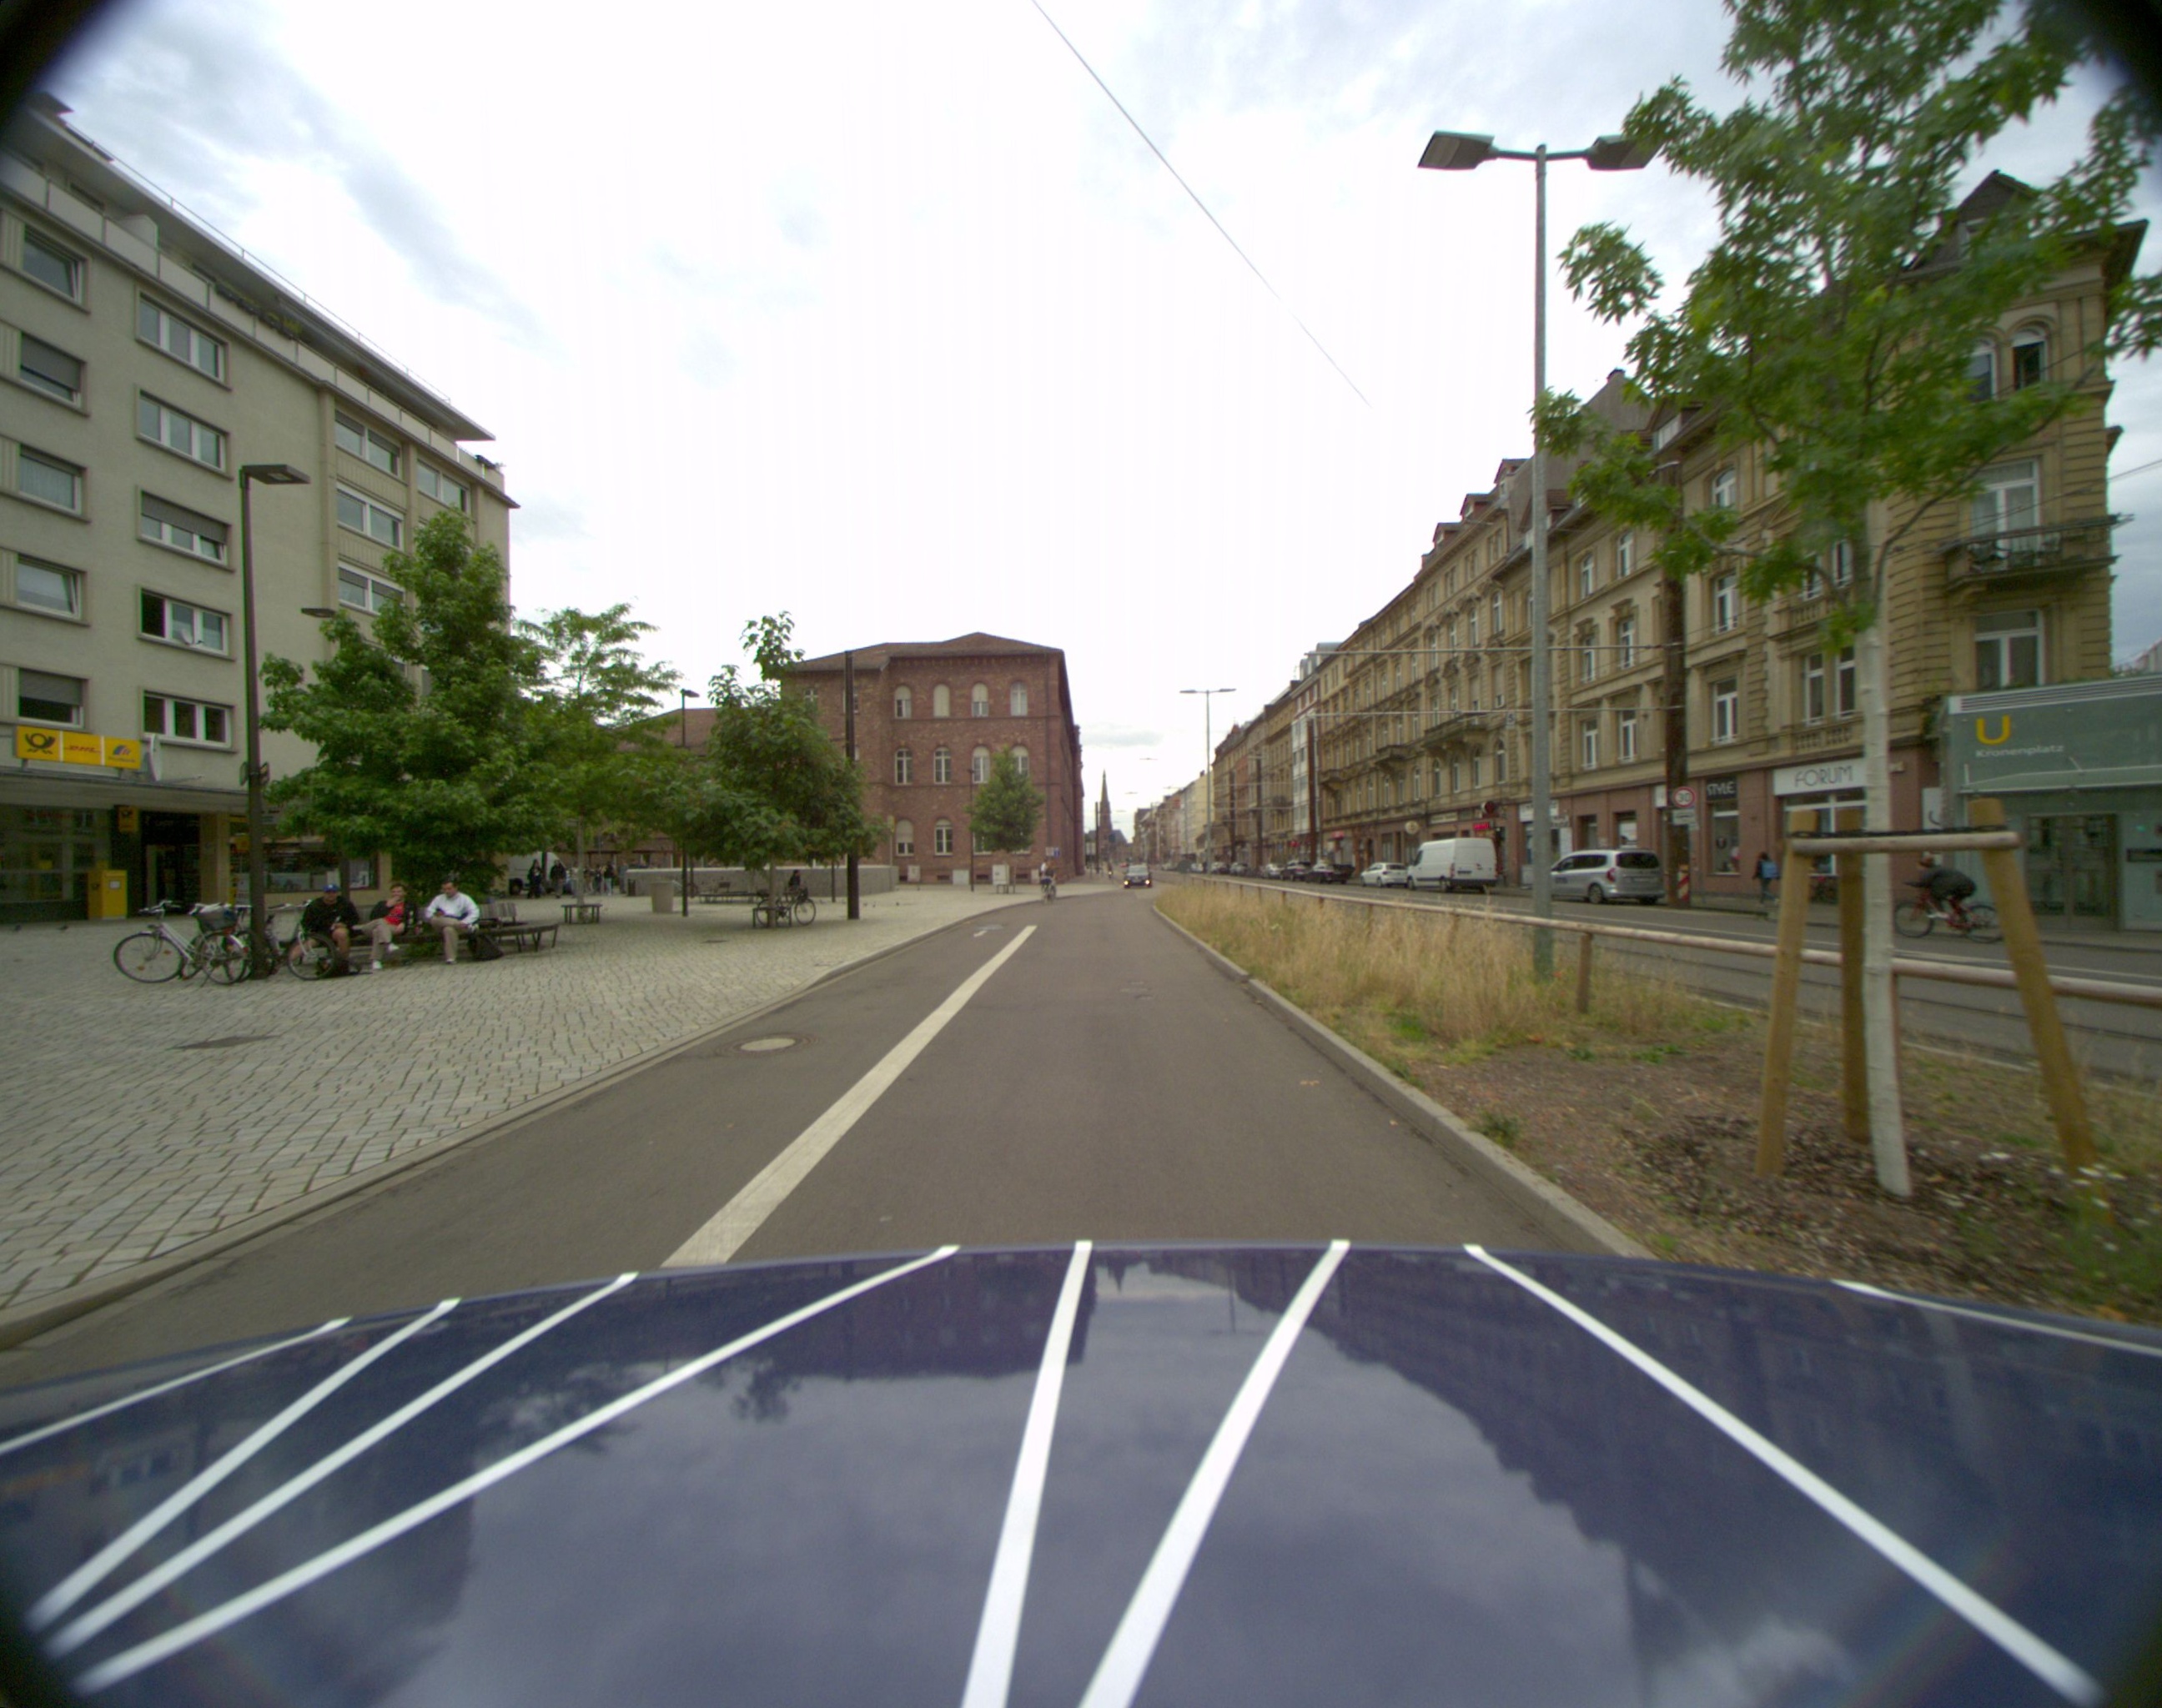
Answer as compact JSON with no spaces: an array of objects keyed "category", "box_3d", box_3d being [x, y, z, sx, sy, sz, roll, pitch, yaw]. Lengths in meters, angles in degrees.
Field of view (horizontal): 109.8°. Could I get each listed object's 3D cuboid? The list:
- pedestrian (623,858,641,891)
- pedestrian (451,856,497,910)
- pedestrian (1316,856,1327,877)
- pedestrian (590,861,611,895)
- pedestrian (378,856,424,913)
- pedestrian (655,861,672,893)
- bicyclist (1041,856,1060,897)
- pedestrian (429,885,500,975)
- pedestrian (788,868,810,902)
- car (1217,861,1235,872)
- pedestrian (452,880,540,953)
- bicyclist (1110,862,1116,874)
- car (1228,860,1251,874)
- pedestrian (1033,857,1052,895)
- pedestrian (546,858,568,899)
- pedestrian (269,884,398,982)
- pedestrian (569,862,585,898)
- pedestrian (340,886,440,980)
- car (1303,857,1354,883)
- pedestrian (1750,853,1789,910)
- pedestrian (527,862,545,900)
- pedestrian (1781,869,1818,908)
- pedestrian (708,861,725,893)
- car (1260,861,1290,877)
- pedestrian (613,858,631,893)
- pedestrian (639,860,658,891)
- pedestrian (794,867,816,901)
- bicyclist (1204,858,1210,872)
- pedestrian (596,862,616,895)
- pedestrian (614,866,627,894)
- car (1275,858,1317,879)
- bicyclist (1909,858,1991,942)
[{"category":"pedestrian","box_3d":[-22.816,1.030,38.642,0.513,1.660,0.593,-1,-1,23]},{"category":"pedestrian","box_3d":[-20.085,0.951,25.158,0.773,1.762,1.066,0,0,-10]},{"category":"pedestrian","box_3d":[20.952,1.110,66.177,0.653,1.771,0.787,-2,0,38]},{"category":"pedestrian","box_3d":[-23.707,1.202,37.465,0.642,1.660,0.592,-1,-1,17]},{"category":"pedestrian","box_3d":[-23.230,1.022,25.990,0.773,1.890,1.065,0,0,-17]},{"category":"pedestrian","box_3d":[-21.794,1.183,39.663,0.513,1.660,0.593,-1,-1,22]},{"category":"bicyclist","box_3d":[-1.258,0.922,31.455,0.570,1.674,0.794,-1,0,9]},{"category":"pedestrian","box_3d":[-9.962,1.208,12.303,0.630,1.358,0.687,-2,0,-18]},{"category":"pedestrian","box_3d":[-12.091,1.326,32.569,0.781,1.447,0.766,1,0,-28]},{"category":"car","box_3d":[18.771,1.620,98.619,1.748,1.479,3.921,0,-1,2]},{"category":"pedestrian","box_3d":[-11.867,1.245,15.464,0.629,1.358,1.409,-2,0,0]},{"category":"bicyclist","box_3d":[3.195,1.441,76.371,0.587,1.164,0.662,-1,0,0]},{"category":"car","box_3d":[18.401,1.484,88.355,1.748,1.524,4.226,0,-1,1]},{"category":"pedestrian","box_3d":[-1.930,1.110,38.019,0.871,1.890,0.773,0,0,0]},{"category":"pedestrian","box_3d":[-22.839,1.050,33.126,0.590,1.757,0.645,-1,-1,37]},{"category":"pedestrian","box_3d":[-11.501,1.183,11.736,0.543,1.358,1.282,-2,0,19]},{"category":"pedestrian","box_3d":[-22.267,1.146,33.572,0.593,1.576,0.642,0,-1,-32]},{"category":"pedestrian","box_3d":[-10.718,1.197,11.813,0.628,1.358,0.920,-2,0,18]},{"category":"car","box_3d":[17.309,1.098,53.400,1.924,1.679,5.052,1,0,0]},{"category":"pedestrian","box_3d":[19.320,0.760,21.324,0.554,1.547,0.658,-2,0,19]},{"category":"pedestrian","box_3d":[-23.084,1.145,32.183,0.593,1.576,0.642,0,-1,-32]},{"category":"pedestrian","box_3d":[19.897,0.955,21.045,0.554,1.024,0.453,-2,0,9]},{"category":"pedestrian","box_3d":[-18.708,1.181,39.038,0.513,1.660,0.593,-1,-1,25]},{"category":"car","box_3d":[17.959,1.405,70.428,1.748,1.479,3.921,0,-1,0]},{"category":"pedestrian","box_3d":[-25.549,1.181,42.293,0.663,1.878,0.534,-2,0,-3]},{"category":"pedestrian","box_3d":[-24.410,1.209,42.876,0.664,1.747,0.631,-2,0,-8]},{"category":"pedestrian","box_3d":[-12.136,1.313,33.447,0.781,1.447,0.766,1,0,-28]},{"category":"bicyclist","box_3d":[16.642,1.439,100.160,0.646,1.872,1.028,-2,0,3]},{"category":"pedestrian","box_3d":[-23.947,1.226,38.302,0.642,1.660,0.593,-1,-1,22]},{"category":"pedestrian","box_3d":[-27.410,1.533,45.253,0.535,1.612,0.662,-2,0,-38]},{"category":"car","box_3d":[17.517,1.192,62.121,1.818,1.679,5.031,0,-1,-2]},{"category":"bicyclist","box_3d":[15.050,0.780,13.178,0.480,1.398,0.812,-1,0,0]}]
